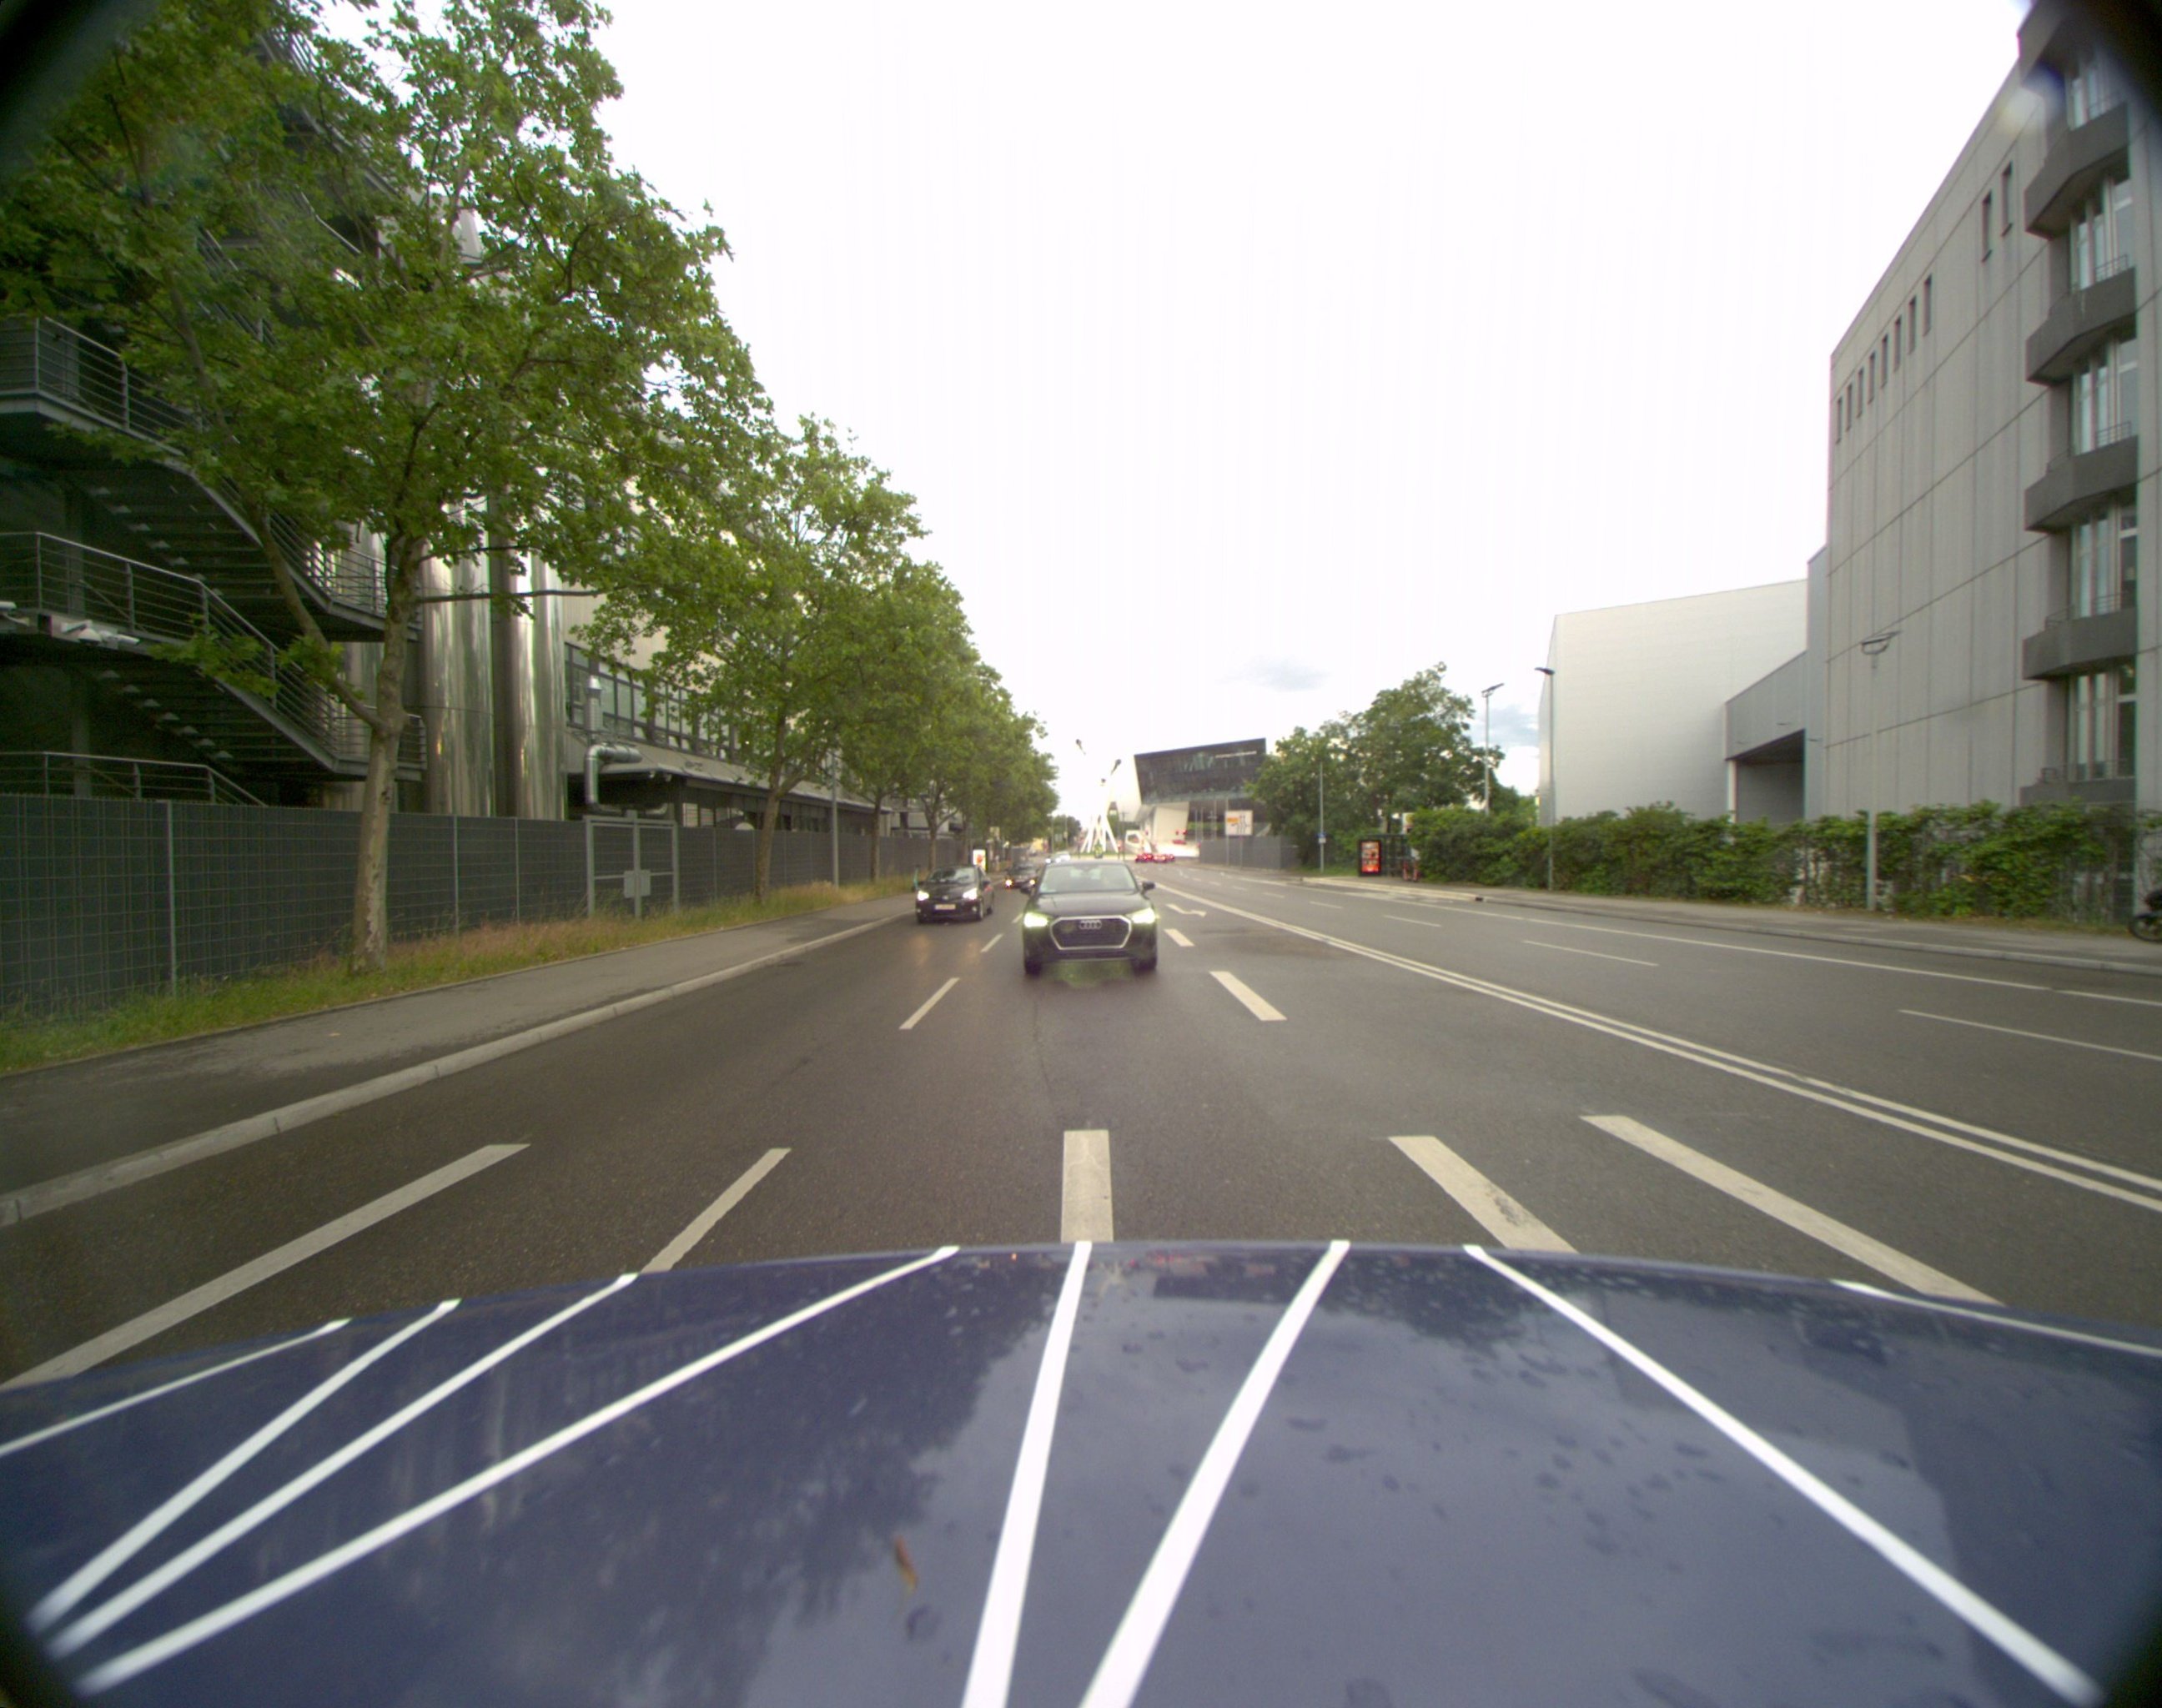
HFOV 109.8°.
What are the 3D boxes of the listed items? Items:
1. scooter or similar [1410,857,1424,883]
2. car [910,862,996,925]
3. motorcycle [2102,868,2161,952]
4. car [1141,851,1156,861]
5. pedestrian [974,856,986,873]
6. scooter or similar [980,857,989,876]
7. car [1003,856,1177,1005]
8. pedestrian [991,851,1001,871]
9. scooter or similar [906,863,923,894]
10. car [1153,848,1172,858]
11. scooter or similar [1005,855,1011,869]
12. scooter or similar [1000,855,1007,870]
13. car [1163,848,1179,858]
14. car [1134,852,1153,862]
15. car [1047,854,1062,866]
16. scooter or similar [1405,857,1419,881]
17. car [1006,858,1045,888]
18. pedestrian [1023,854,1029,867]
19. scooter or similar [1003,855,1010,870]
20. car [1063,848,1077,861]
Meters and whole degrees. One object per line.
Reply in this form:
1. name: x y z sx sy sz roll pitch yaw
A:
1. scooter or similar: 16.207 0.761 36.700 0.379 1.174 1.379 0 1 14
2. car: -3.378 1.000 20.786 1.881 1.485 4.075 0 0 -3
3. motorcycle: 16.695 0.851 11.051 0.786 1.243 2.157 -1 0 0
4. car: 11.363 0.391 127.802 1.878 1.641 3.857 0 0 16
5. pedestrian: -8.464 0.881 63.721 0.932 1.408 0.698 -1 1 -1
6. scooter or similar: -6.945 0.881 54.738 0.329 1.301 1.246 -1 1 4
7. car: 0.047 0.881 11.364 1.951 1.609 5.276 -2 0 -1
8. pedestrian: -7.539 0.628 67.511 0.778 1.700 0.729 -1 1 -1
9. scooter or similar: -7.029 1.015 32.130 0.329 1.262 1.109 -1 1 9
10. car: 12.886 -0.173 120.417 2.267 1.469 4.052 -1 1 18
11. scooter or similar: -7.050 0.781 73.370 0.437 1.288 1.300 -1 1 3
12. scooter or similar: -7.120 0.776 69.801 0.437 1.288 1.300 -1 1 3
13. car: 15.011 -0.252 127.205 1.862 1.641 3.792 0 0 19
14. car: 10.026 0.499 122.390 2.255 1.469 3.884 -1 1 18
15. car: -3.360 0.757 97.527 1.951 1.610 4.072 0 0 -1
16. scooter or similar: 16.584 0.738 38.070 0.389 1.173 1.251 0 1 14
17. car: -3.029 1.010 42.224 1.842 1.444 4.785 -2 0 -1
18. pedestrian: -6.748 0.761 93.312 0.723 1.610 0.833 1 1 -1
19. scooter or similar: -7.001 0.792 71.183 0.437 1.288 1.300 -1 1 3
20. car: -1.665 0.070 111.298 1.951 1.879 4.490 0 0 -1
